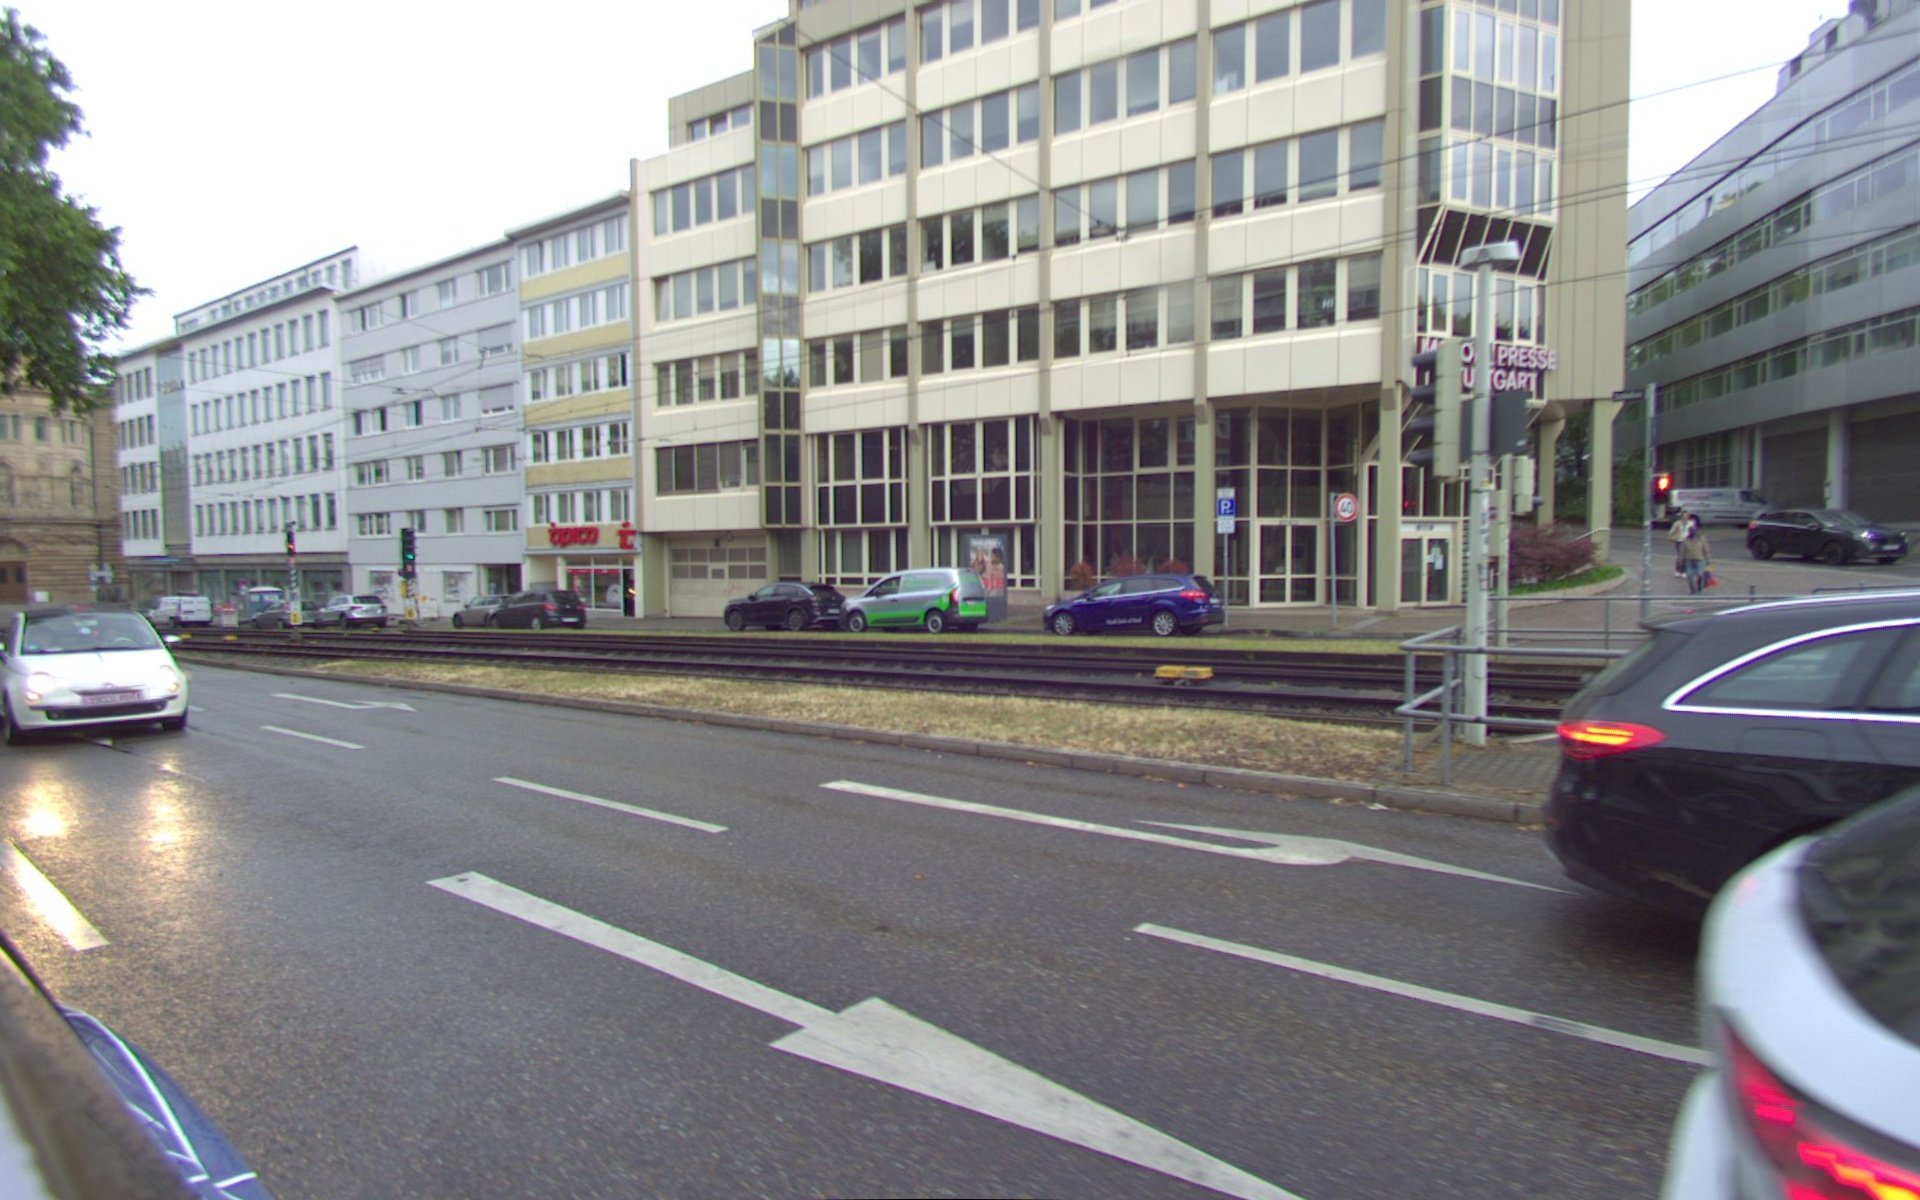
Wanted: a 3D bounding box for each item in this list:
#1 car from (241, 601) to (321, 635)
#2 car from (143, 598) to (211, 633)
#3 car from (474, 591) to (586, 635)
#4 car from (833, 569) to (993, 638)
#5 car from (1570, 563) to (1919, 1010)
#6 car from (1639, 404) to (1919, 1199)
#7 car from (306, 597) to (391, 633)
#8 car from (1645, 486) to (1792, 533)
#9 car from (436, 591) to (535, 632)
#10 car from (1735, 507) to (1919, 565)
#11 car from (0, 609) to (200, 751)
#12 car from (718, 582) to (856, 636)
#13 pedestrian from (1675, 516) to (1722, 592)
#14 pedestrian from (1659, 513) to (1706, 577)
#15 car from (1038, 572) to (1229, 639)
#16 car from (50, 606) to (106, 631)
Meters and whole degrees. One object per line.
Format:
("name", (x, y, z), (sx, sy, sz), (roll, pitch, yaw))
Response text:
("car", (-30.266, 0.800, 45.079), (3.861, 1.367, 1.614), (-1, 2, 34))
("car", (-47.222, 0.908, 61.028), (4.465, 1.949, 1.869), (0, 3, 34))
("car", (-14.508, 0.436, 34.118), (3.861, 1.367, 1.614), (-1, 2, 34))
("car", (-1.342, 0.071, 28.438), (4.204, 1.759, 1.782), (0, 3, 33))
("car", (4.634, 0.592, 3.134), (4.473, 1.453, 1.777), (0, 0, 41))
("car", (2.917, 0.545, 0.176), (4.473, 1.453, 1.777), (0, 0, 41))
("car", (-28.932, 0.676, 47.861), (4.066, 1.524, 1.869), (0, 3, 34))
("car", (36.973, -4.393, 49.497), (5.357, 2.029, 1.993), (-1, 0, 12))
("car", (-19.383, 0.456, 41.282), (4.066, 1.524, 1.782), (0, 3, 34))
("car", (26.862, -2.050, 31.423), (1.974, 1.591, 4.884), (-2, 5, 3))
("car", (-10.668, 0.851, 12.267), (3.438, 1.445, 1.633), (0, 0, 41))
("car", (-5.384, 0.255, 31.328), (4.066, 1.524, 1.782), (0, 3, 34))
("pedestrian", (18.000, -1.115, 24.659), (0.831, 1.800, 0.749), (1, 4, 44))
("pedestrian", (19.239, -1.470, 26.959), (0.711, 1.651, 0.759), (-1, 3, 6))
("car", (4.151, 0.128, 24.424), (4.207, 1.488, 1.780), (0, 0, 35))
("car", (-62.882, 1.301, 72.134), (4.465, 1.636, 1.869), (0, 3, 34))
